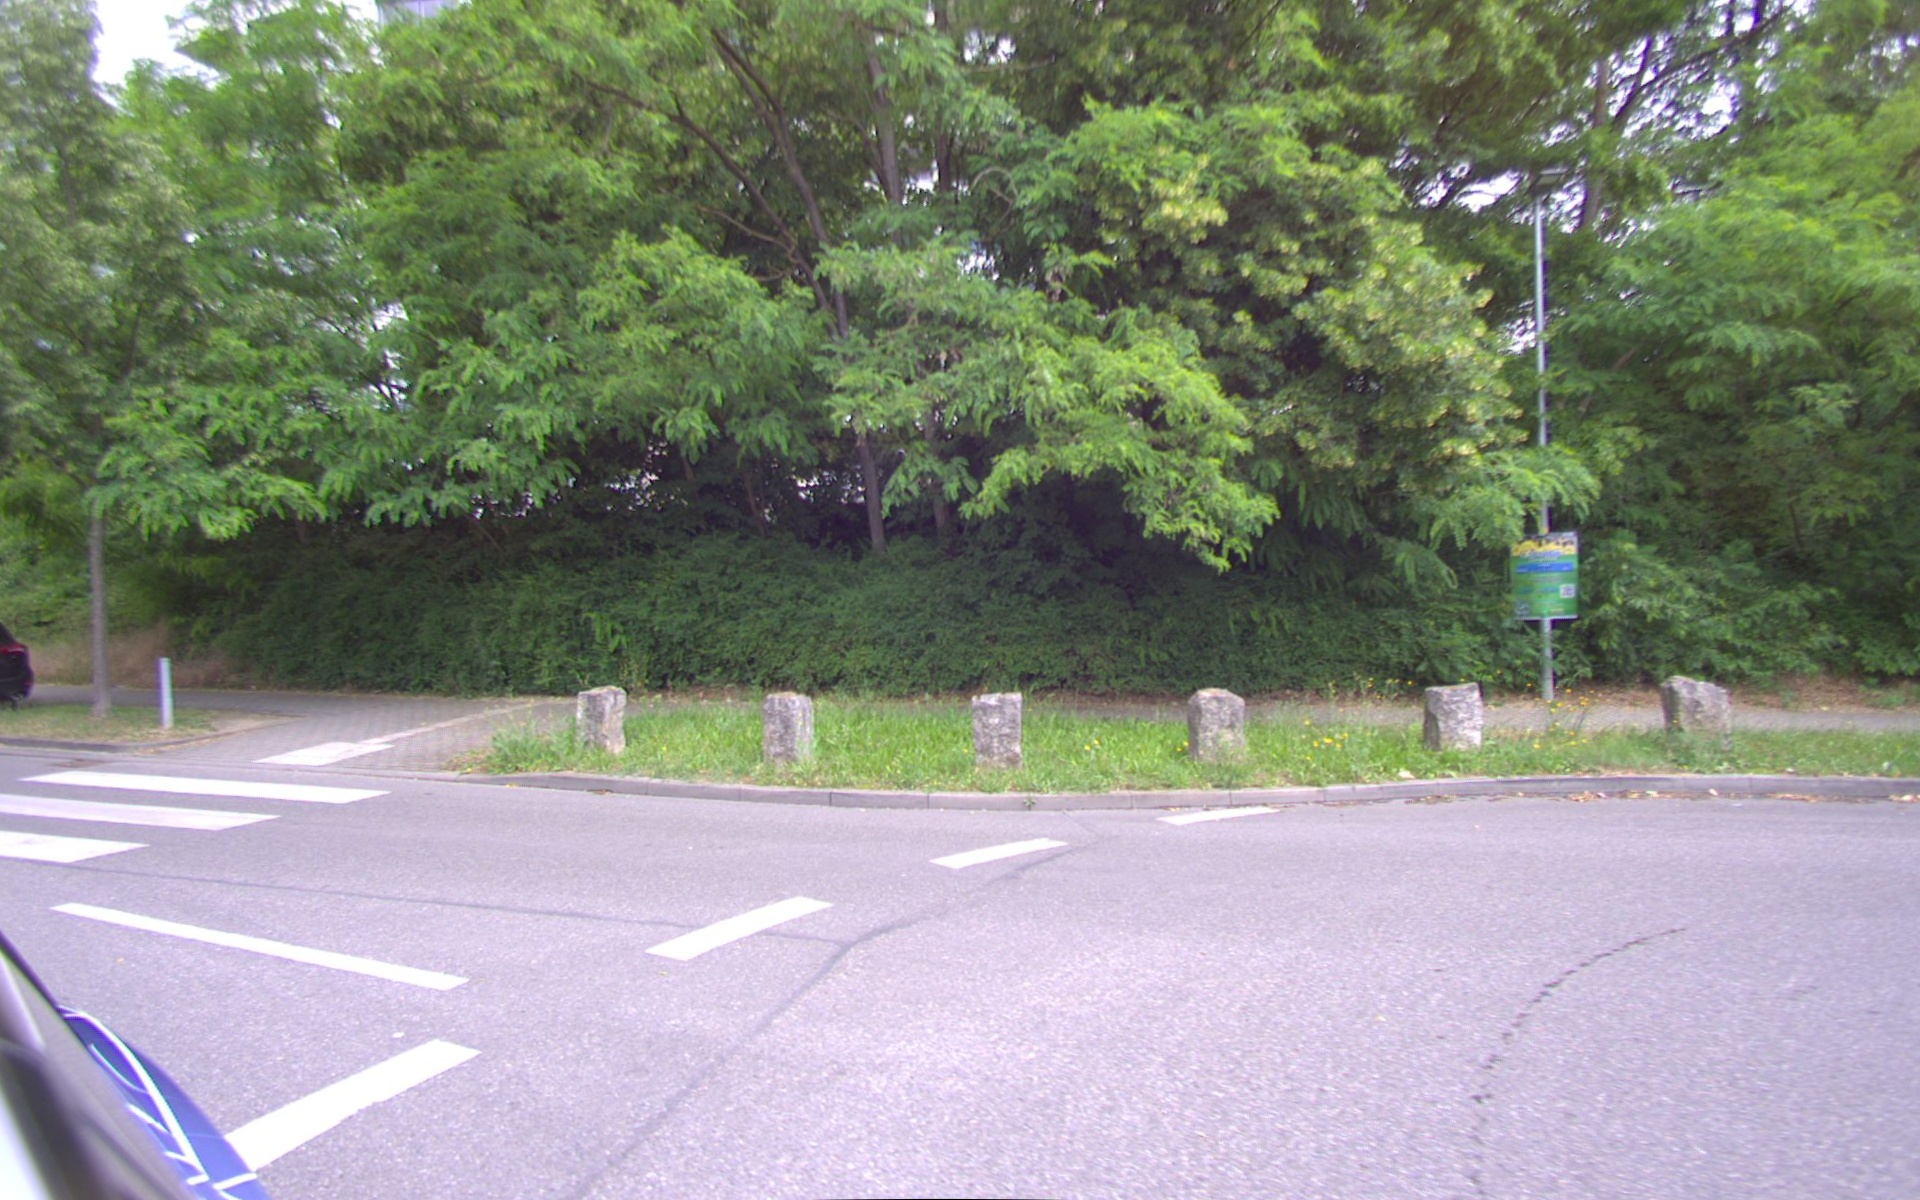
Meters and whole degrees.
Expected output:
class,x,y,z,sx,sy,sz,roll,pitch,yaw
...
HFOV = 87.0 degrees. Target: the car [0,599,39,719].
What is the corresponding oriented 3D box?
class,x,y,z,sx,sy,sz,roll,pitch,yaw
car,-14.186,0.806,12.831,4.419,1.475,1.686,-1,3,18
